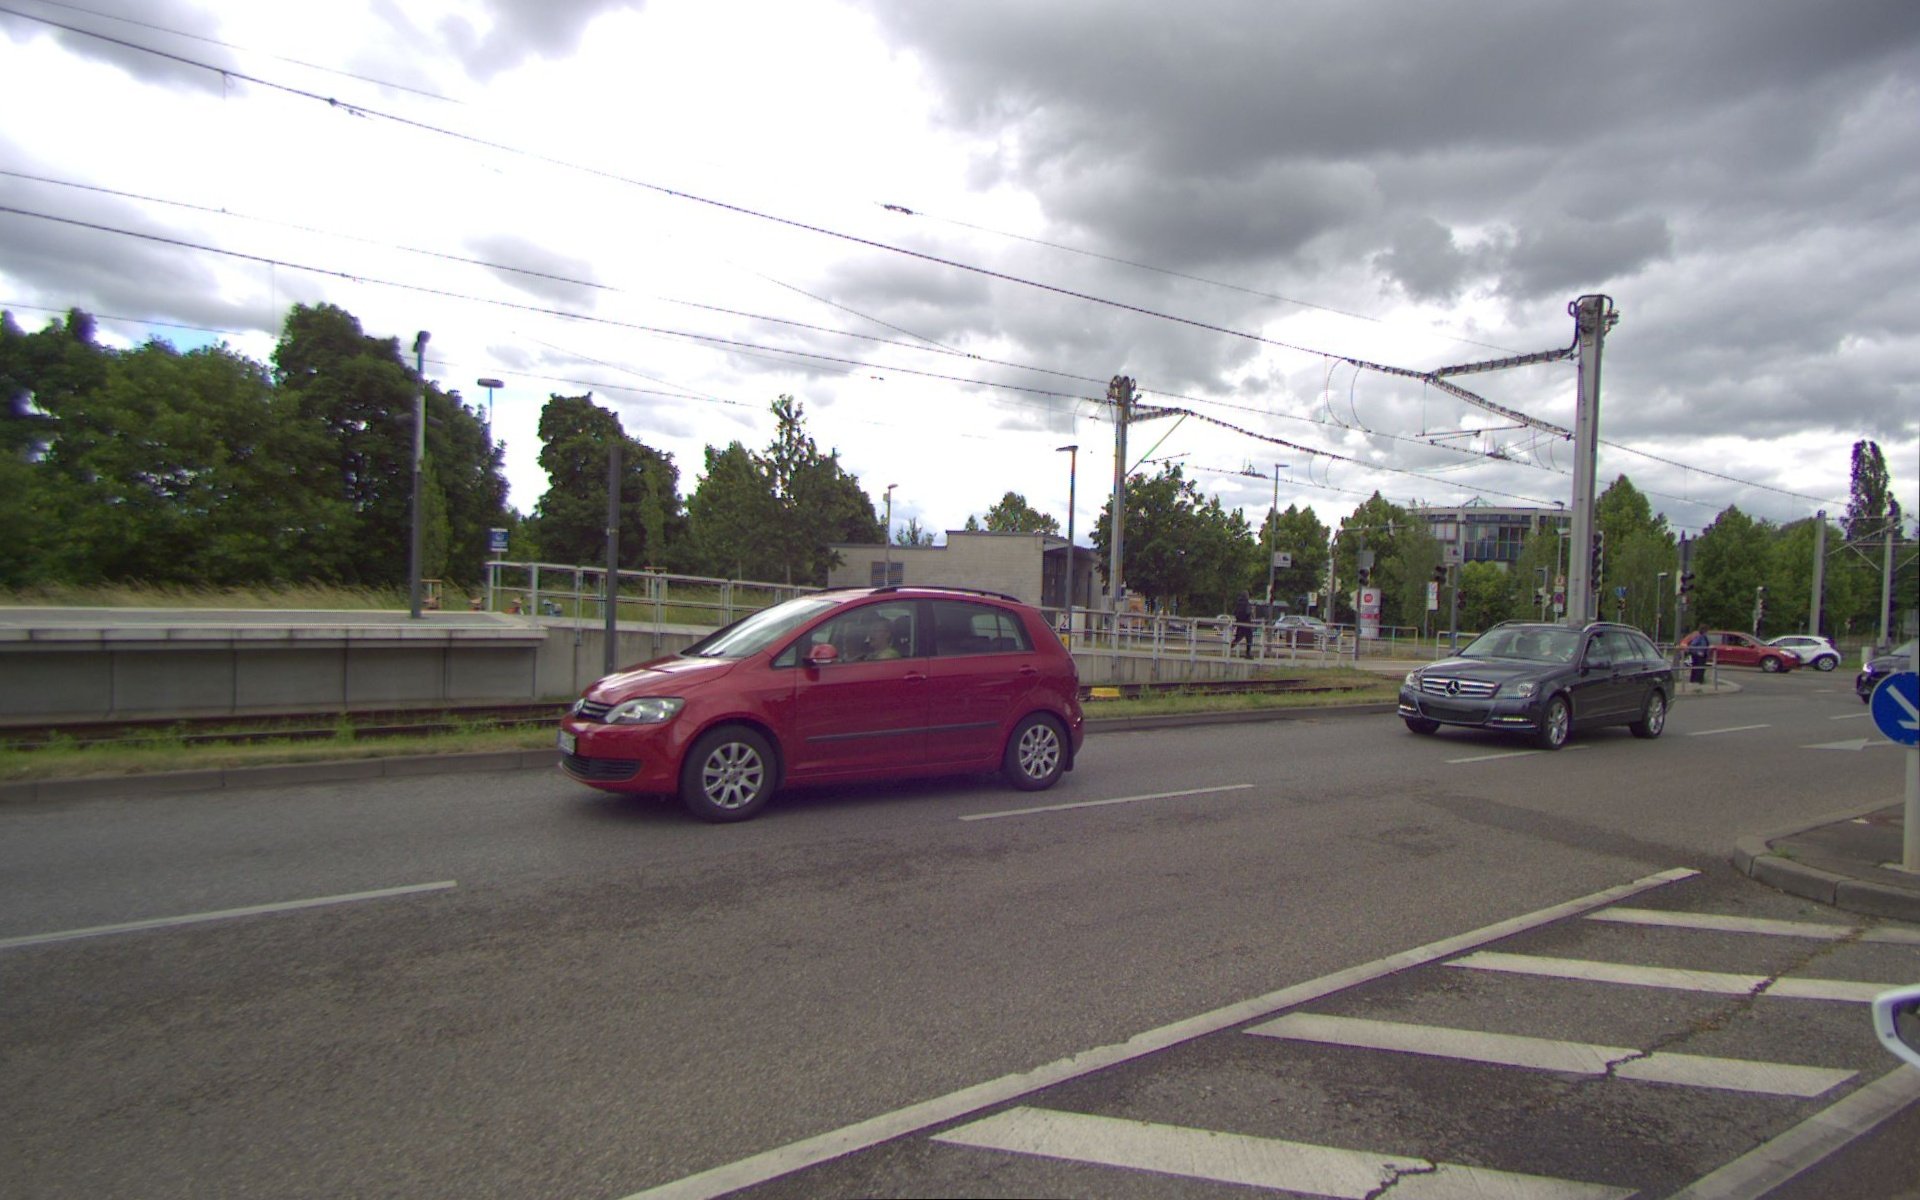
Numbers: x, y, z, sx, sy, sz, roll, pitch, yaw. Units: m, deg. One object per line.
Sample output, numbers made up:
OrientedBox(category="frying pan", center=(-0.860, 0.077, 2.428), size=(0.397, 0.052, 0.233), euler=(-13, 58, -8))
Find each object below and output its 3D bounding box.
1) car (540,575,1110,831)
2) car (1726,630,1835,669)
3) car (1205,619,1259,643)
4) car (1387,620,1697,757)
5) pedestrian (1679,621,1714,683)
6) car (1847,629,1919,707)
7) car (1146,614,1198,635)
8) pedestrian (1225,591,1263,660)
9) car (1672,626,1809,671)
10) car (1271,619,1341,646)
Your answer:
OrientedBox(category="car", center=(-0.920, 0.666, 7.786), size=(4.045, 1.508, 1.692), euler=(2, -1, -34))
OrientedBox(category="car", center=(36.817, 2.198, 45.175), size=(3.686, 1.528, 1.774), euler=(0, 1, 36))
OrientedBox(category="car", center=(16.923, 1.908, 62.562), size=(1.530, 1.327, 3.276), euler=(2, 0, -22))
OrientedBox(category="car", center=(7.570, 1.019, 12.908), size=(4.499, 1.458, 1.680), euler=(1, 0, -35))
OrientedBox(category="pedestrian", center=(19.107, 1.350, 26.073), size=(0.640, 1.577, 0.354), euler=(-1, 1, 4))
OrientedBox(category="car", center=(20.612, 1.389, 20.882), size=(3.879, 1.516, 1.592), euler=(1, 0, -20))
OrientedBox(category="car", center=(14.534, 1.679, 69.003), size=(1.698, 1.327, 3.729), euler=(2, 0, -22))
OrientedBox(category="pedestrian", center=(7.722, 0.689, 27.332), size=(0.785, 1.852, 0.568), euler=(1, 0, -33))
OrientedBox(category="car", center=(31.013, 1.918, 39.999), size=(1.717, 1.536, 3.958), euler=(3, -1, -37))
OrientedBox(category="car", center=(19.504, 1.819, 56.765), size=(1.496, 1.395, 3.979), euler=(2, 0, -22))
